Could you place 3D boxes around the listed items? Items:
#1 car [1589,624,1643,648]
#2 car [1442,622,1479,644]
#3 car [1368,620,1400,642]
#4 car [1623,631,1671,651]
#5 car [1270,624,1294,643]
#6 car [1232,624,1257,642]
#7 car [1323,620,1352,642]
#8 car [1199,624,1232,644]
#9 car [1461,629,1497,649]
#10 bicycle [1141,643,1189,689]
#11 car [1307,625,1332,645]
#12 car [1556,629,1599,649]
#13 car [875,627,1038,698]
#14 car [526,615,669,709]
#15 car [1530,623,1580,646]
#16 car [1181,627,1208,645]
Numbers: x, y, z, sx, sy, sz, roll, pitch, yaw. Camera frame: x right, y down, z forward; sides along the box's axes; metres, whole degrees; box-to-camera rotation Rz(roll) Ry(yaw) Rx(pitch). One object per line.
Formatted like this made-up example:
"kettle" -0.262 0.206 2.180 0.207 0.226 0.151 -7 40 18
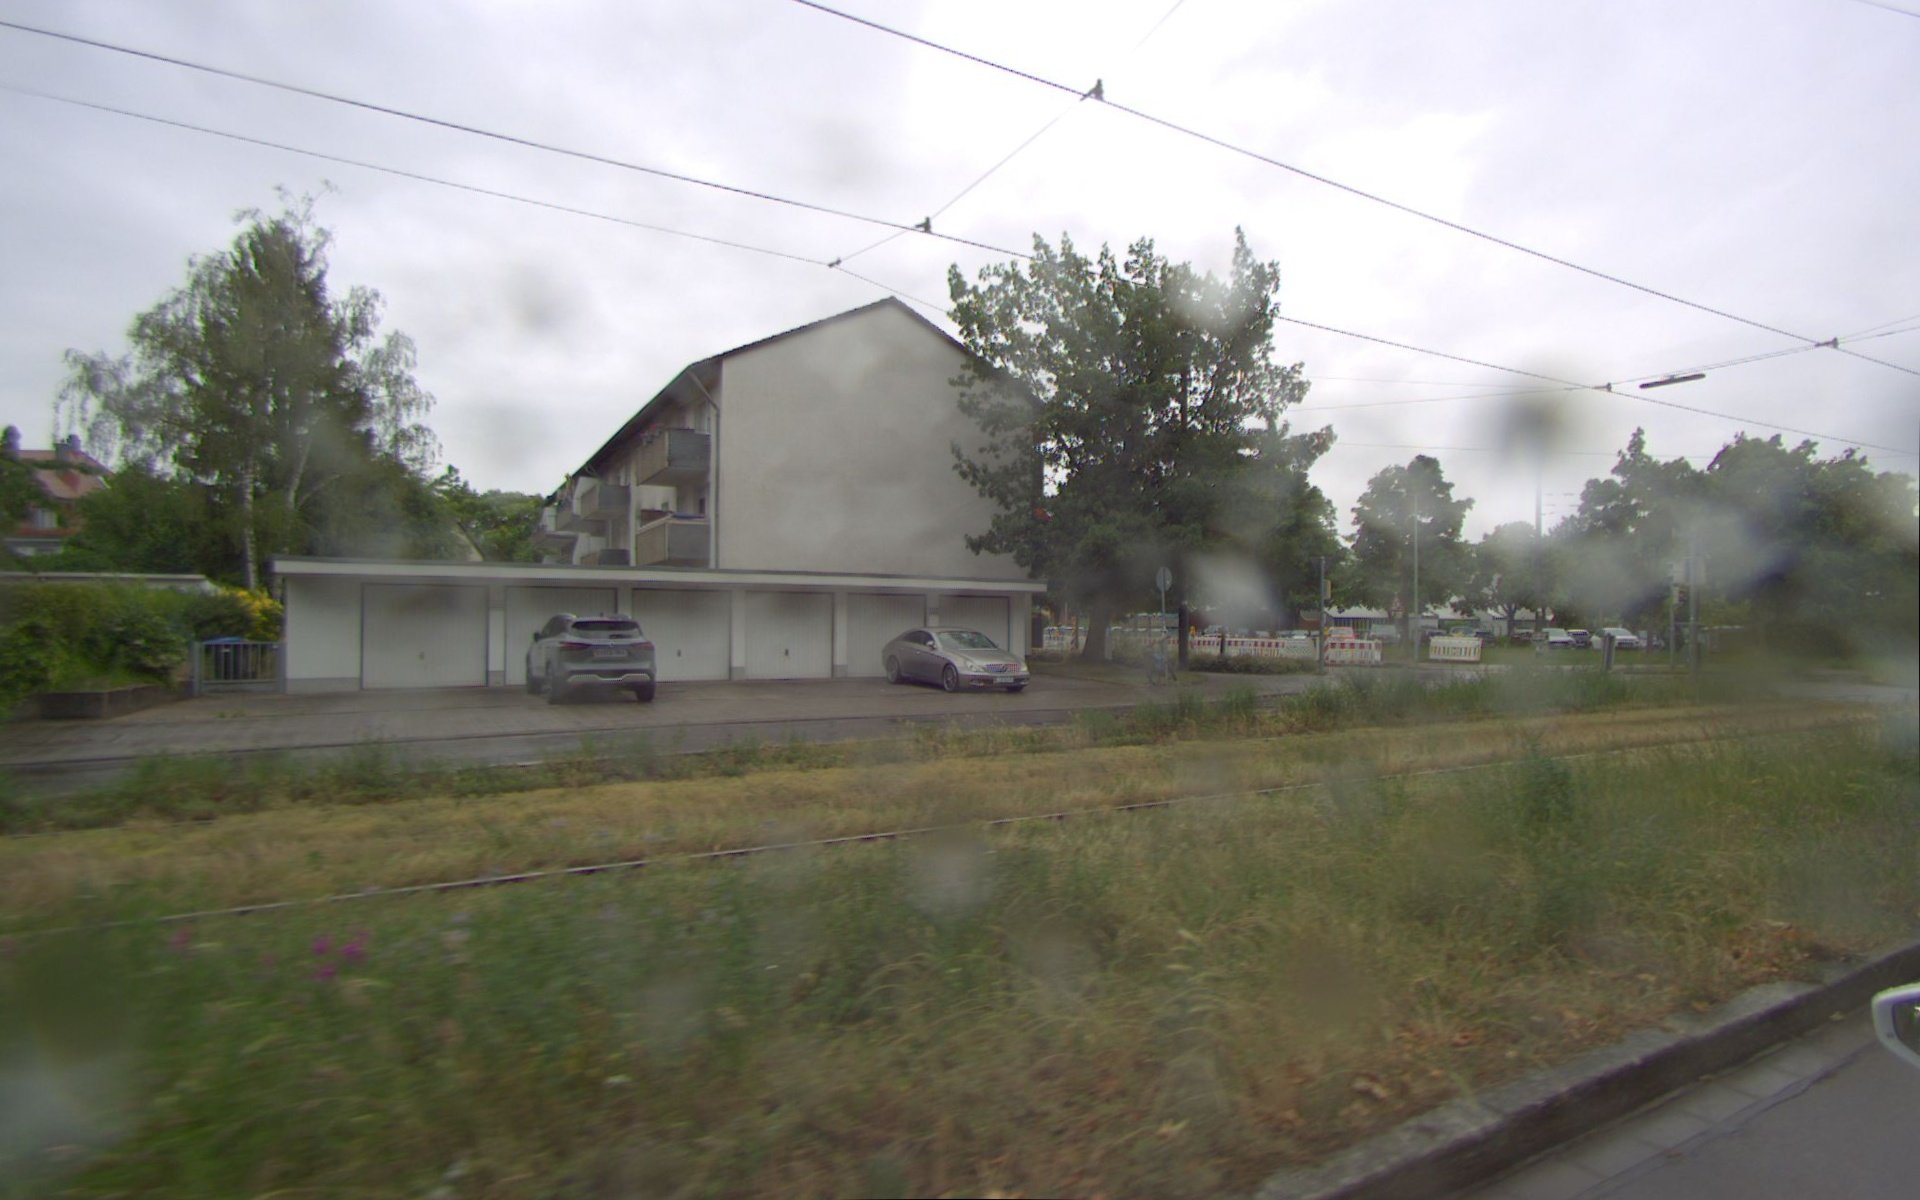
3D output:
"car" 36.850 2.020 56.496 1.632 1.265 3.743 -1 -2 18
"car" 29.747 1.986 59.776 1.633 1.265 3.742 -1 -2 21
"car" 25.519 1.862 60.505 1.633 1.265 3.742 -1 -2 21
"car" 44.993 2.694 65.864 1.632 1.265 3.743 -1 -2 18
"car" 23.660 2.483 73.693 1.632 1.342 3.743 -1 -2 18
"car" 21.310 2.467 75.248 1.632 1.342 3.743 -1 -2 18
"car" 23.154 1.907 61.600 1.633 1.265 3.742 -1 -2 21
"car" 16.481 2.187 64.673 1.633 1.265 3.742 -1 -2 21
"car" 35.648 2.684 69.041 1.632 1.342 3.743 -1 -2 18
"bicycle" 5.206 1.657 25.498 0.474 1.033 1.836 3 1 35
"car" 26.016 2.537 72.799 1.632 1.342 3.743 -1 -2 18
"car" 40.954 2.584 66.706 1.632 1.265 3.743 -1 -2 18
"car" -0.213 1.374 23.358 1.825 1.383 4.706 1 -1 -28
"car" -7.028 1.117 19.230 1.871 1.597 3.967 1 -2 -31
"car" 33.773 1.956 57.098 1.632 1.265 3.743 -1 -2 18
"car" 17.805 2.715 76.199 1.632 1.342 3.743 -1 -2 18
